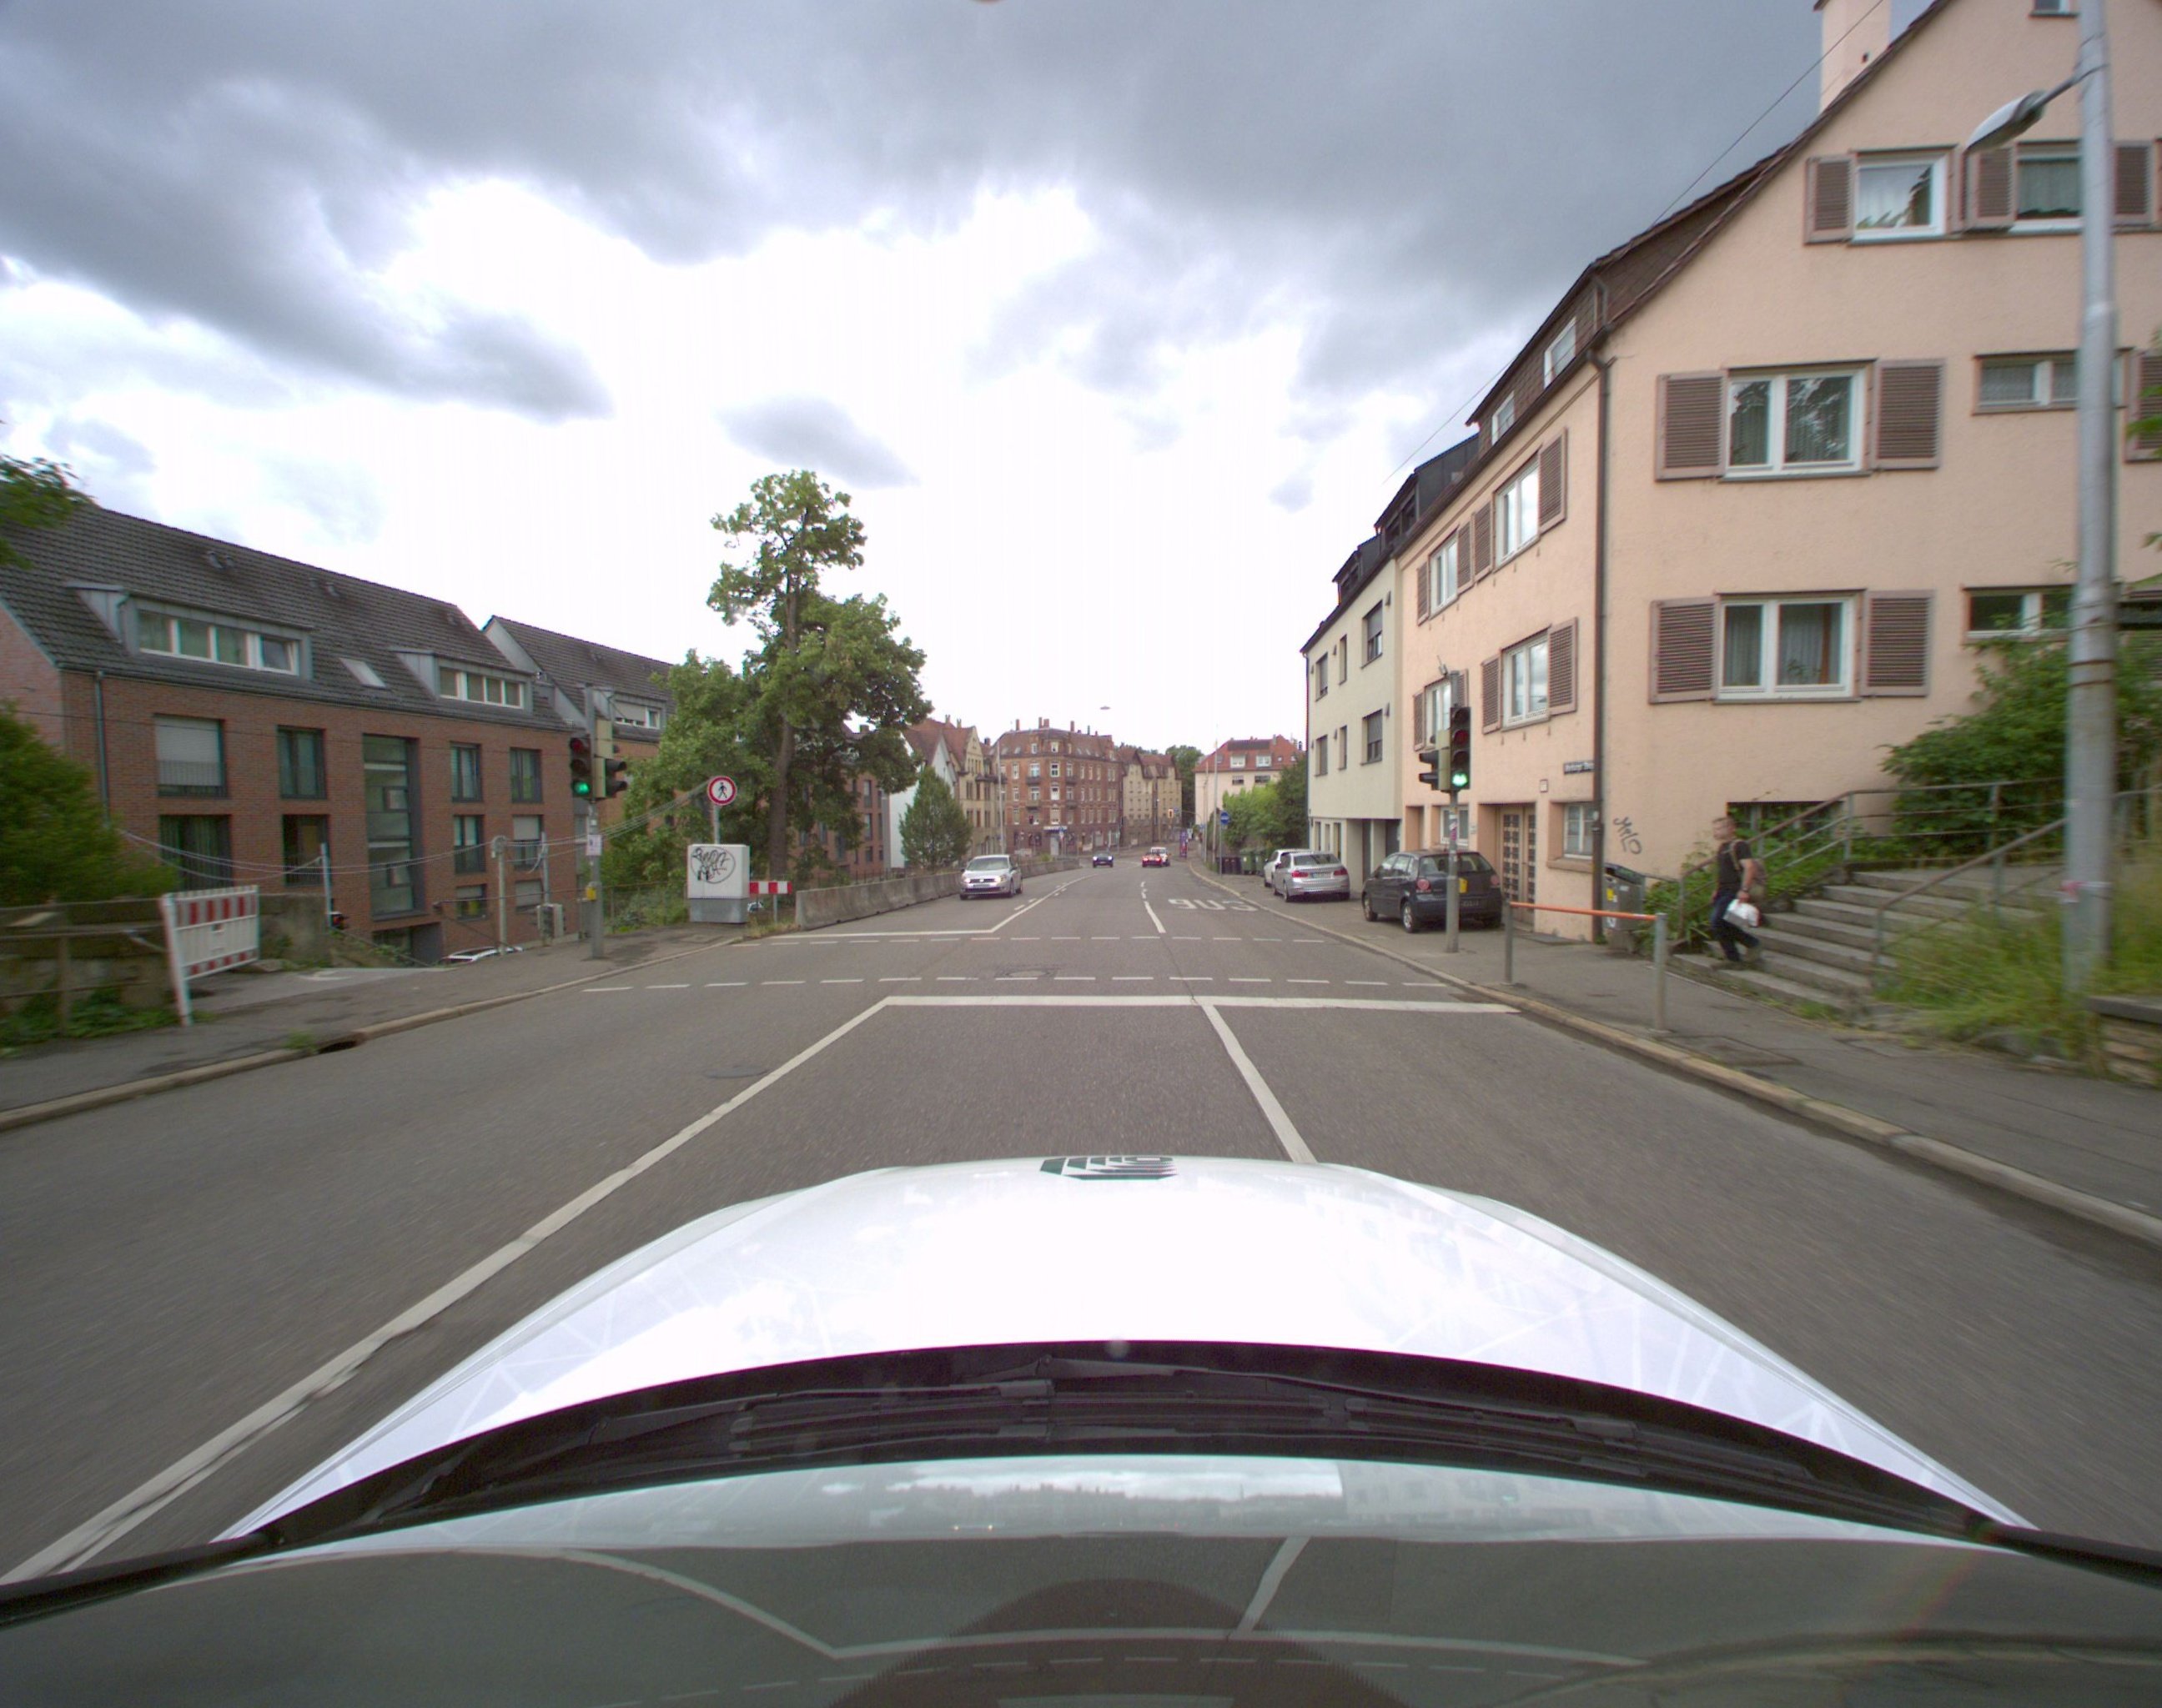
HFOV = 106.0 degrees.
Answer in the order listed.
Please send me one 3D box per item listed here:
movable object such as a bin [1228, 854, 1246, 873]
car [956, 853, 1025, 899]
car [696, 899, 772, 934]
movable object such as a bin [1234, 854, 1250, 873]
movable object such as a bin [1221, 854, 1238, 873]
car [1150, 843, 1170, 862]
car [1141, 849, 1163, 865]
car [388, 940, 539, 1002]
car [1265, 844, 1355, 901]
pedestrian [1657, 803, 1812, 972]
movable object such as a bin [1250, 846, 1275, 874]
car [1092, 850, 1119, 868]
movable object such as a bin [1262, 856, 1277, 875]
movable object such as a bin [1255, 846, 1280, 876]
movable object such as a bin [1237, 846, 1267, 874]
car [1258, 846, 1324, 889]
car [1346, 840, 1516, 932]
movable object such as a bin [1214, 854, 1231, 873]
[{"bbox_3d":[8.663,0.540,45.263,0.743,1.058,0.676,-1,-1,-12],"label":"movable object such as a bin"},{"bbox_3d":[-3.079,0.709,28.399,1.713,1.444,4.161,-2,0,2],"label":"car"},{"bbox_3d":[-18.859,3.395,44.453,1.783,1.510,4.012,-3,0,10],"label":"car"},{"bbox_3d":[8.824,0.521,44.638,0.710,1.058,0.545,-1,-1,-13],"label":"movable object such as a bin"},{"bbox_3d":[8.401,0.547,46.027,0.743,1.058,0.676,-1,-1,-12],"label":"movable object such as a bin"},{"bbox_3d":[8.049,-0.116,83.174,1.899,1.884,4.008,1,0,7],"label":"car"},{"bbox_3d":[6.677,0.241,76.216,1.807,1.430,4.008,1,1,7],"label":"car"},{"bbox_3d":[-21.552,4.048,28.642,1.783,1.510,4.011,-3,0,10],"label":"car"},{"bbox_3d":[6.848,0.489,24.808,1.785,1.451,4.727,-4,0,6],"label":"car"},{"bbox_3d":[7.139,0.345,8.947,0.883,1.695,0.873,-5,0,2],"label":"pedestrian"},{"bbox_3d":[9.357,0.316,42.074,1.044,1.445,1.205,-1,-1,0],"label":"movable object such as a bin"},{"bbox_3d":[2.423,0.447,79.567,1.969,1.574,4.388,-3,0,10],"label":"car"},{"bbox_3d":[9.211,0.568,39.770,0.592,0.942,0.641,-1,-1,3],"label":"movable object such as a bin"},{"bbox_3d":[9.327,0.336,40.736,1.043,1.445,1.206,-1,-1,3],"label":"movable object such as a bin"},{"bbox_3d":[9.159,0.326,43.668,1.048,1.445,1.412,-1,-1,-12],"label":"movable object such as a bin"},{"bbox_3d":[7.621,0.460,29.890,1.785,1.423,4.012,-2,0,6],"label":"car"},{"bbox_3d":[6.647,0.562,15.953,1.675,1.451,4.003,-4,-1,3],"label":"car"},{"bbox_3d":[8.088,0.561,46.677,0.743,1.058,0.676,-1,-1,-12],"label":"movable object such as a bin"}]
